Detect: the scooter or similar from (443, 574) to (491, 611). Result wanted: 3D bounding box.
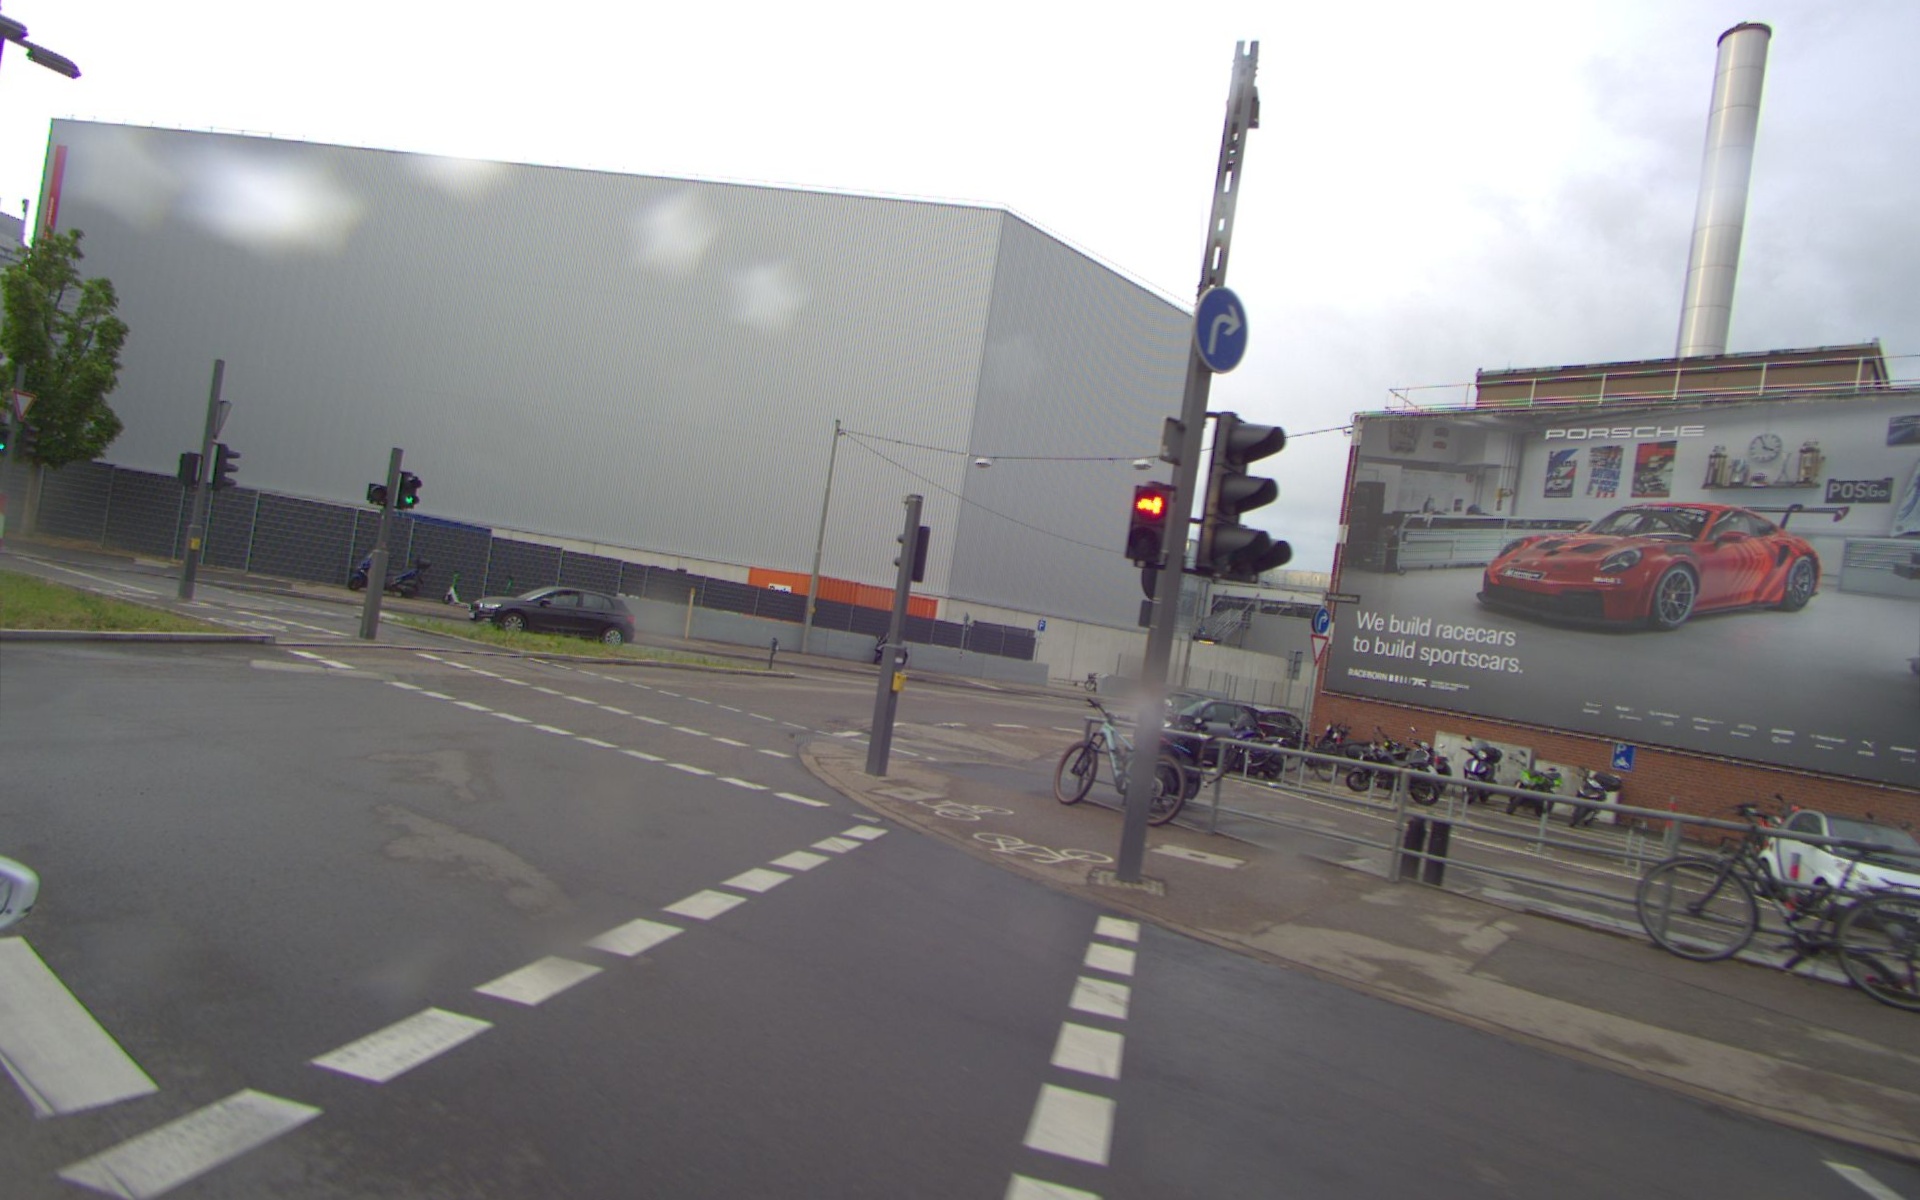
[{"bbox_3d":[-16.349,-0.247,33.386,1.250,1.040,0.385,10,-1,-10],"label":"scooter or similar"}]

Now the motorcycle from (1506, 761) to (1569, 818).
[{"bbox_3d":[12.541,4.127,21.825,1.796,1.132,0.472,9,-4,-38],"label":"motorcycle"}]

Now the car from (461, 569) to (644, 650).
[{"bbox_3d":[-10.561,0.270,26.191,3.974,1.441,1.702,11,-3,-40],"label":"car"}]

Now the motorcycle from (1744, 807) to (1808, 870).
[{"bbox_3d":[15.934,4.635,19.668,0.531,0.984,1.617,5,-4,26],"label":"motorcycle"}]

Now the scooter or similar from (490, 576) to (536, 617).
[{"bbox_3d":[-15.357,-0.126,34.593,1.257,1.213,0.422,10,-2,-29],"label":"scooter or similar"}]

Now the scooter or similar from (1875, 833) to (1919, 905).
[{"bbox_3d":[17.661,4.994,18.655,0.495,1.108,1.640,5,-3,26],"label":"scooter or similar"}]

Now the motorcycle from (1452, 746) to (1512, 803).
[{"bbox_3d":[11.975,4.015,23.074,1.702,1.193,0.539,10,-4,-40],"label":"motorcycle"}]

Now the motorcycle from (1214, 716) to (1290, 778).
[{"bbox_3d":[6.189,3.115,21.309,1.708,1.159,0.491,9,-3,-35],"label":"motorcycle"}]

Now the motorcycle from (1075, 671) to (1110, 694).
[{"bbox_3d":[7.899,4.920,59.993,1.900,1.087,0.624,7,-2,42],"label":"motorcycle"}]

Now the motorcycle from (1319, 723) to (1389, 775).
[{"bbox_3d":[10.511,3.973,26.894,0.540,1.123,1.634,8,-3,-35],"label":"motorcycle"}]

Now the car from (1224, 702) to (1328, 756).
[{"bbox_3d":[10.599,4.338,33.631,1.549,1.459,4.086,4,-5,44],"label":"car"}]

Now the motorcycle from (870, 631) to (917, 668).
[{"bbox_3d":[-3.049,2.277,46.394,2.090,1.392,0.647,11,-2,-43],"label":"motorcycle"}]

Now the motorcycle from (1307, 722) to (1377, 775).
[{"bbox_3d":[9.942,3.851,26.219,0.540,1.132,1.588,8,-3,-35],"label":"motorcycle"}]

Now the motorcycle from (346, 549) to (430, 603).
[{"bbox_3d":[-18.062,-0.757,31.806,2.090,1.325,0.647,11,-3,-43],"label":"motorcycle"}]

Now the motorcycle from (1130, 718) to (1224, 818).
[{"bbox_3d":[2.913,2.192,13.340,0.480,1.158,2.093,5,-4,31],"label":"motorcycle"}]

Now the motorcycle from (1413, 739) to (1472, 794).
[{"bbox_3d":[11.418,3.945,23.784,1.637,1.193,0.539,10,-4,-40],"label":"motorcycle"}]

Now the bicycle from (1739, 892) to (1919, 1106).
[{"bbox_3d":[6.275,2.708,6.620,1.722,1.096,0.346,4,-2,44],"label":"bicycle"}]

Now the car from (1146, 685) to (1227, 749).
[{"bbox_3d":[6.667,3.427,29.419,1.526,1.509,2.753,10,-2,26],"label":"car"}]

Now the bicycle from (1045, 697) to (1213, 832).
[{"bbox_3d":[1.779,1.736,10.943,0.417,1.142,2.057,8,-3,-32],"label":"bicycle"}]

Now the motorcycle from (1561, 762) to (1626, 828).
[{"bbox_3d":[13.495,4.157,21.400,1.795,1.253,0.538,10,-1,-40],"label":"motorcycle"}]

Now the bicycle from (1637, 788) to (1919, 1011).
[{"bbox_3d":[5.633,1.967,6.728,1.722,1.096,0.346,4,-2,44],"label":"bicycle"}]

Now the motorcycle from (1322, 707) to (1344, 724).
[{"bbox_3d":[28.446,8.851,76.763,1.914,1.087,0.559,10,-2,-40],"label":"motorcycle"}]

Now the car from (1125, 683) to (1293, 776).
[{"bbox_3d":[5.653,2.939,22.945,3.198,1.520,1.621,9,-2,-15],"label":"car"}]

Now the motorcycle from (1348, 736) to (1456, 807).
[{"bbox_3d":[8.897,3.448,20.309,0.541,1.123,1.843,9,-4,-43],"label":"motorcycle"}]

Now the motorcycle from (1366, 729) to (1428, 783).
[{"bbox_3d":[10.835,3.860,24.897,1.637,1.193,0.668,10,-4,-40],"label":"motorcycle"}]

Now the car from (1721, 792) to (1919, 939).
[{"bbox_3d":[13.810,4.092,15.860,1.539,1.505,4.005,8,-3,19],"label":"car"}]
